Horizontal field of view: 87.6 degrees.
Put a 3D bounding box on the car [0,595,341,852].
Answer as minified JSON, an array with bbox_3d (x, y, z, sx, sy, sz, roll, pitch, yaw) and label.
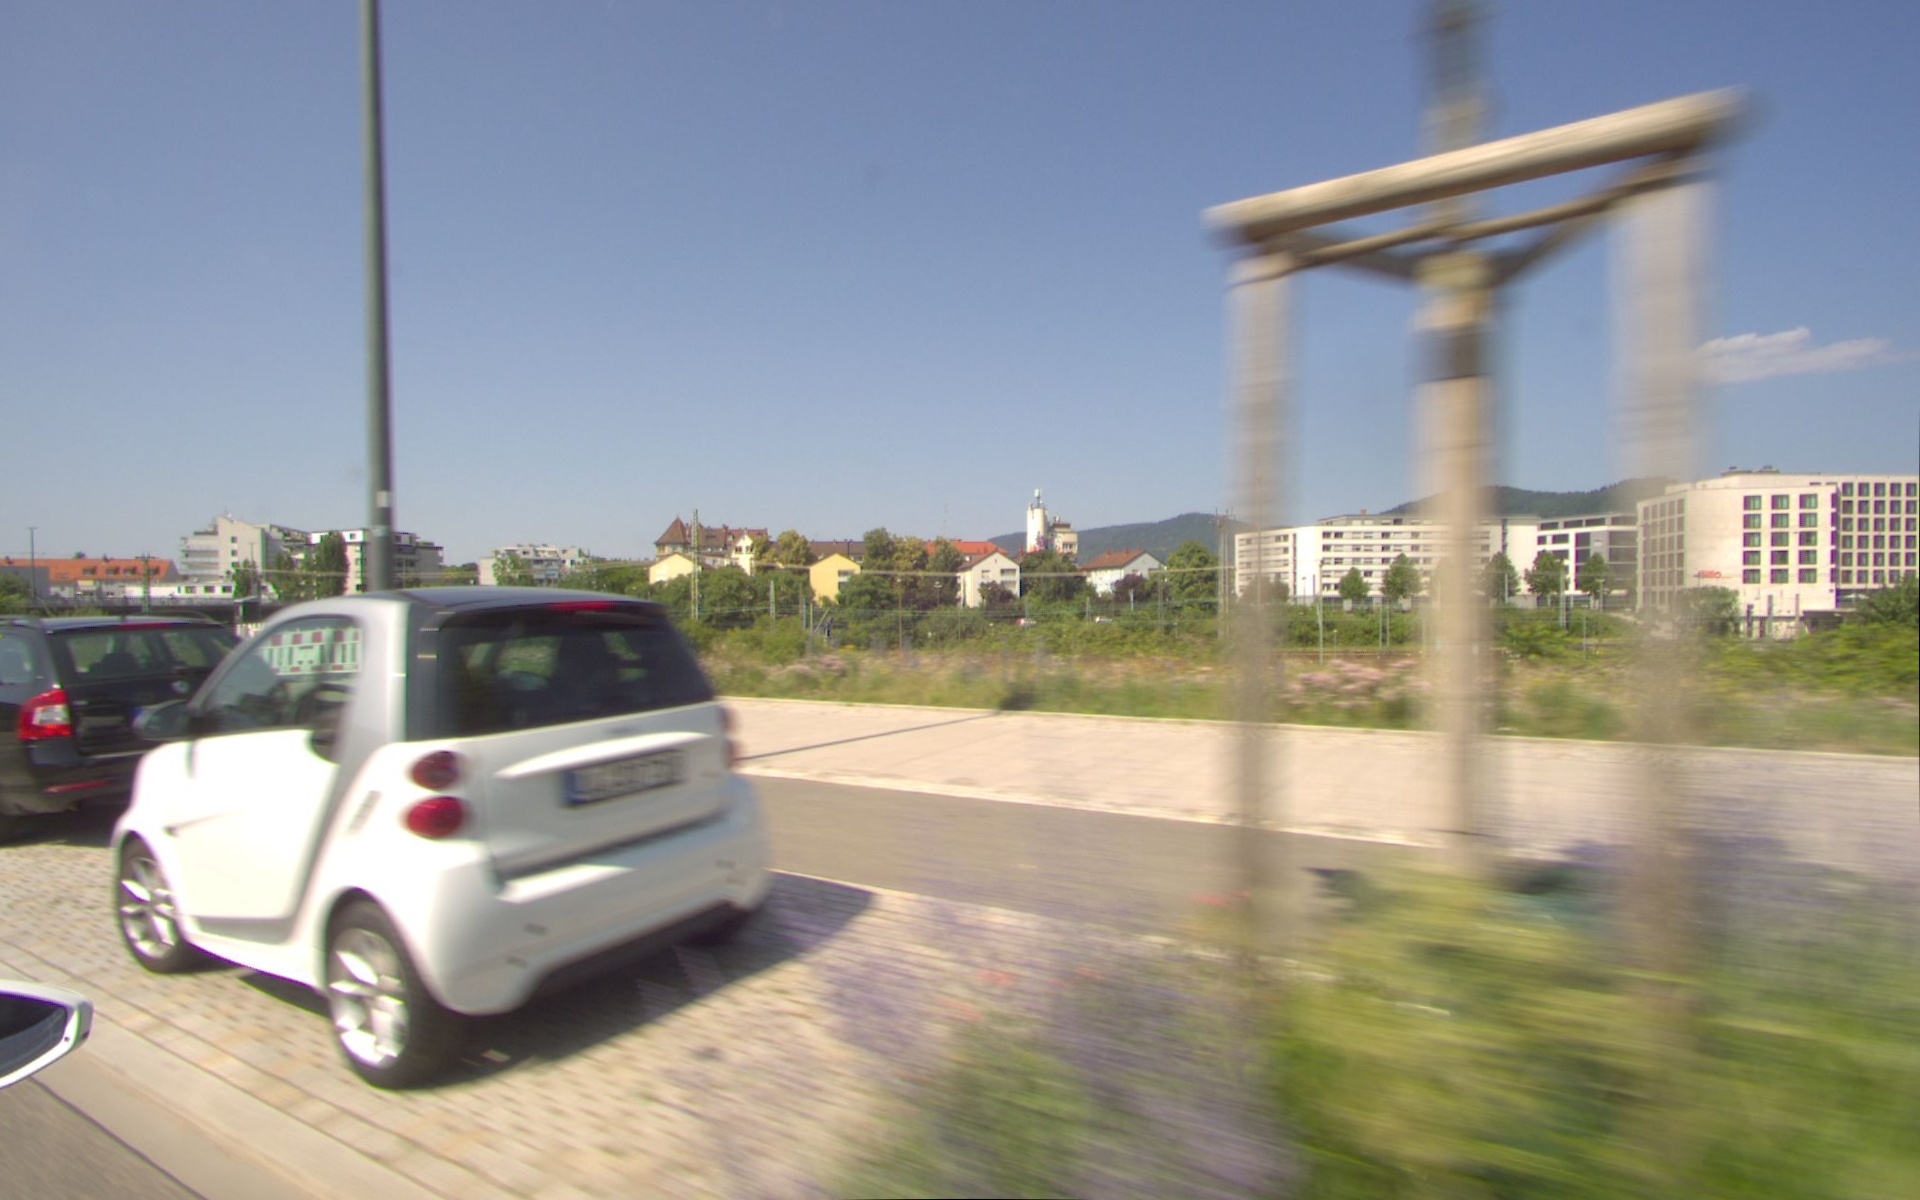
[{"bbox_3d":[-6.992,0.787,7.787,4.306,1.497,1.786,-2,1,29],"label":"car"}]

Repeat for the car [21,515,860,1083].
[{"bbox_3d":[-2.650,0.582,4.788,4.102,1.598,1.903,-1,0,35],"label":"car"}]
